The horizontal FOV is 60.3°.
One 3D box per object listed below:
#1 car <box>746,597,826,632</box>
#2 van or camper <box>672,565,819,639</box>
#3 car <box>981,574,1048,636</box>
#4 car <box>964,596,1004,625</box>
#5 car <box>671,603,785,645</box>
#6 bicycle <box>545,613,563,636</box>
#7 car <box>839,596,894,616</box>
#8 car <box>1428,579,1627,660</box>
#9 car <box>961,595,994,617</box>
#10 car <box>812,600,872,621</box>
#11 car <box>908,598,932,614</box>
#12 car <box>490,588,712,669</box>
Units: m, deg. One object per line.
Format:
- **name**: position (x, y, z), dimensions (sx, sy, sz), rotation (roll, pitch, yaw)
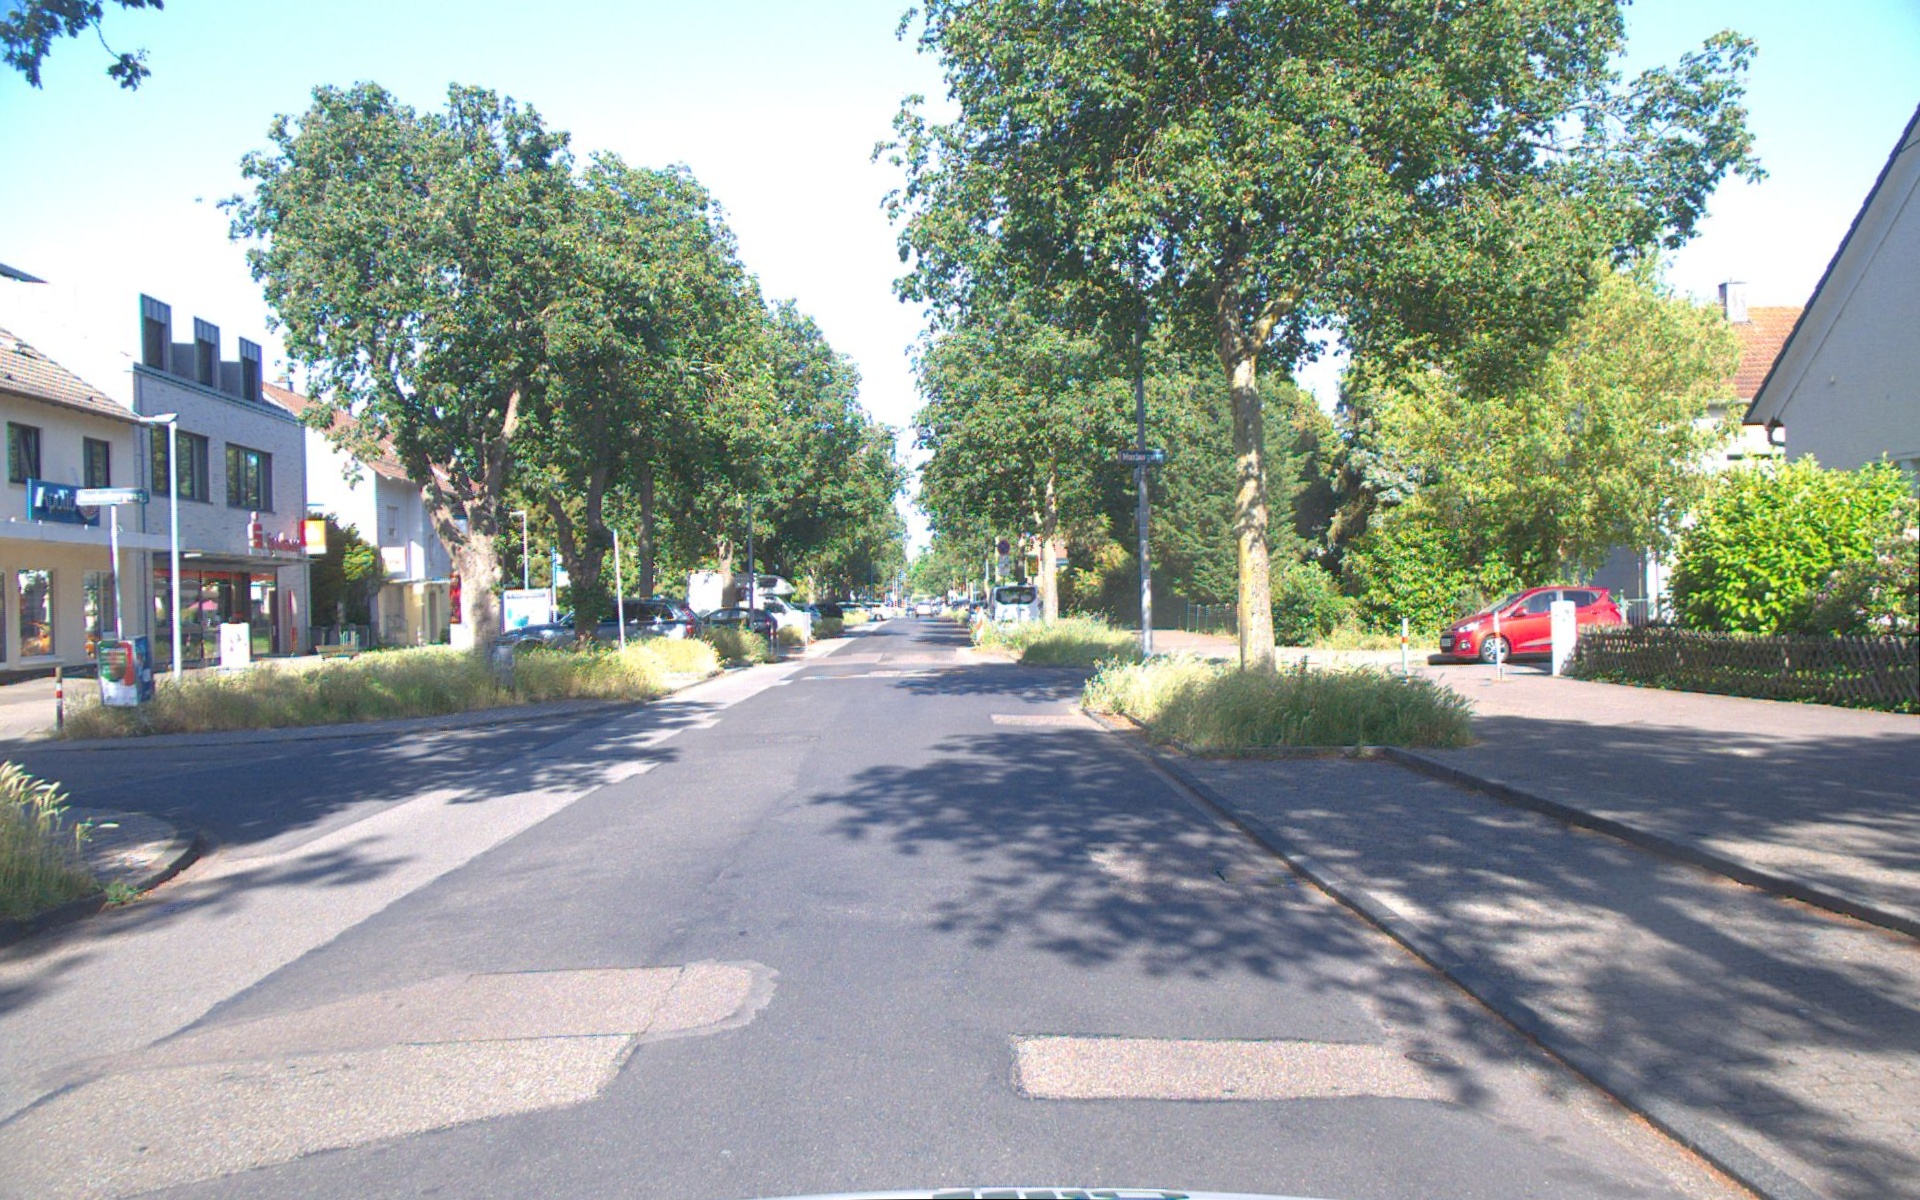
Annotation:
- **car**: position (-8.875, 0.753, 84.576), dimensions (3.907, 1.690, 1.966), rotation (-1, 0, -3)
- **van or camper**: position (-8.753, 0.090, 67.850), dimensions (5.657, 2.854, 2.000), rotation (2, -1, 0)
- **car**: position (1.890, 0.201, 59.246), dimensions (1.954, 2.049, 5.193), rotation (2, -1, -2)
- **car**: position (1.415, 0.629, 96.718), dimensions (1.951, 1.537, 4.002), rotation (-3, -1, 6)
- **car**: position (-8.544, 0.889, 61.029), dimensions (3.904, 1.475, 1.640), rotation (1, -1, 2)
- **bicycle**: position (-21.911, 1.307, 89.178), dimensions (0.693, 1.197, 4.036), rotation (-2, 1, -17)
- **car**: position (-7.533, 0.459, 132.873), dimensions (4.122, 1.480, 2.001), rotation (-1, 0, 5)
- **car**: position (11.535, 0.367, 33.734), dimensions (3.471, 1.537, 1.638), rotation (-1, 1, -5)
- **car**: position (1.355, 0.504, 129.526), dimensions (1.956, 1.650, 4.374), rotation (2, -1, -7)
- **car**: position (-9.278, 0.812, 130.654), dimensions (4.575, 1.530, 2.000), rotation (-1, 0, 0)
- **car**: position (-3.887, 0.575, 160.740), dimensions (1.956, 1.534, 3.651), rotation (2, -1, -8)
- **car**: position (-8.591, 0.685, 39.961), dimensions (4.962, 1.758, 1.998), rotation (2, -1, -5)
